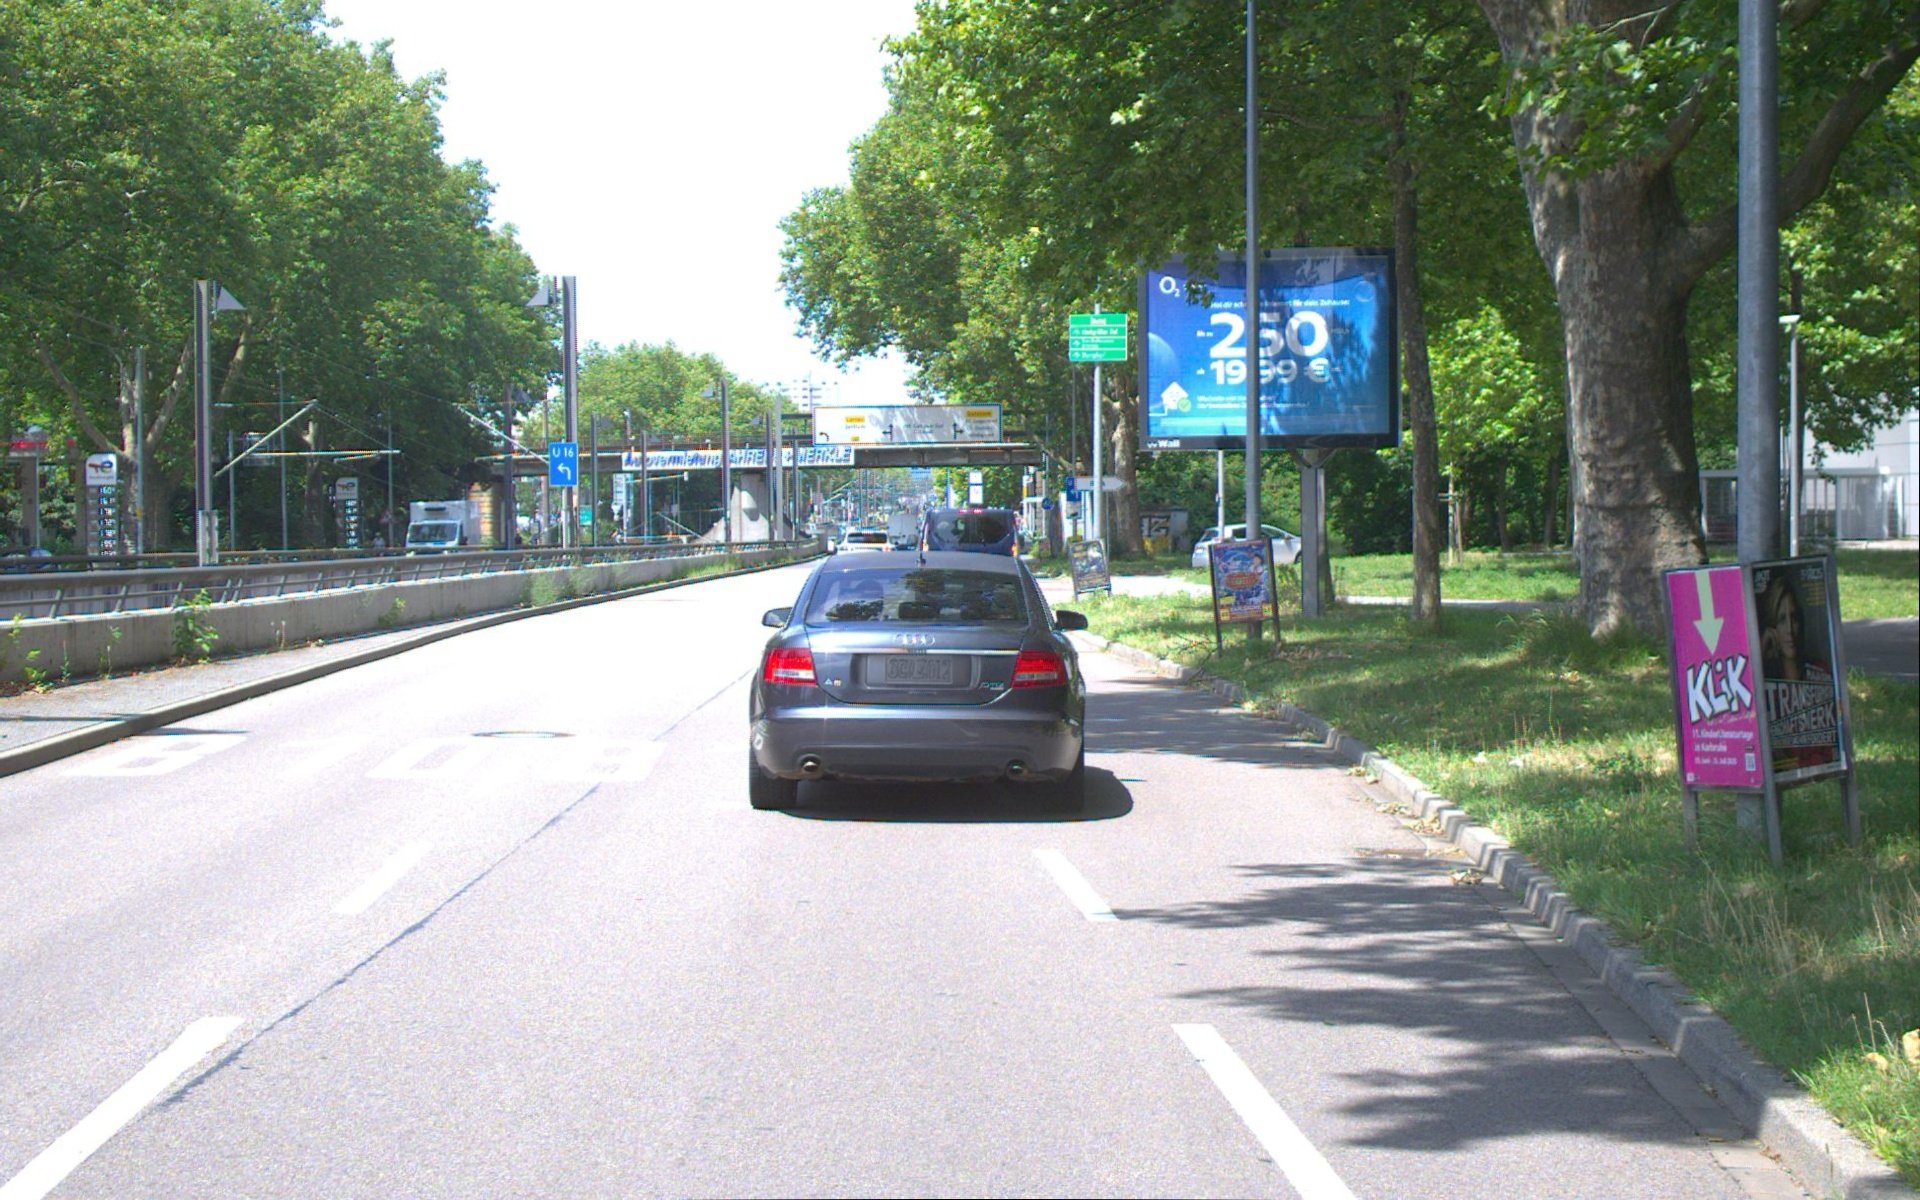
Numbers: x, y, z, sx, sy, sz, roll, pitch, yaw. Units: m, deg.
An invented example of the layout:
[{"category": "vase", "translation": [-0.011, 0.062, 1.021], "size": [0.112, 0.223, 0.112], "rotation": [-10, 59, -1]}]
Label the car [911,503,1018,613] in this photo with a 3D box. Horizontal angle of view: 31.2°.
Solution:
[{"category": "car", "translation": [0.119, -0.804, 64.537], "size": [1.848, 1.953, 4.144], "rotation": [1, 1, 2]}]

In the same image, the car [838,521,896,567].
[{"category": "car", "translation": [-3.009, -1.809, 110.828], "size": [1.845, 1.459, 4.000], "rotation": [0, 1, -2]}]

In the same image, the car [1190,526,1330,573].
[{"category": "car", "translation": [9.211, -1.558, 105.755], "size": [3.986, 1.405, 1.800], "rotation": [0, 1, -8]}]

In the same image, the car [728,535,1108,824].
[{"category": "car", "translation": [-0.347, 0.370, 19.762], "size": [1.842, 1.479, 4.001], "rotation": [0, 1, -6]}]

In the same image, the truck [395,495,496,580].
[{"category": "truck", "translation": [-18.713, -2.291, 125.433], "size": [2.990, 3.010, 8.001], "rotation": [0, 1, -4]}]
